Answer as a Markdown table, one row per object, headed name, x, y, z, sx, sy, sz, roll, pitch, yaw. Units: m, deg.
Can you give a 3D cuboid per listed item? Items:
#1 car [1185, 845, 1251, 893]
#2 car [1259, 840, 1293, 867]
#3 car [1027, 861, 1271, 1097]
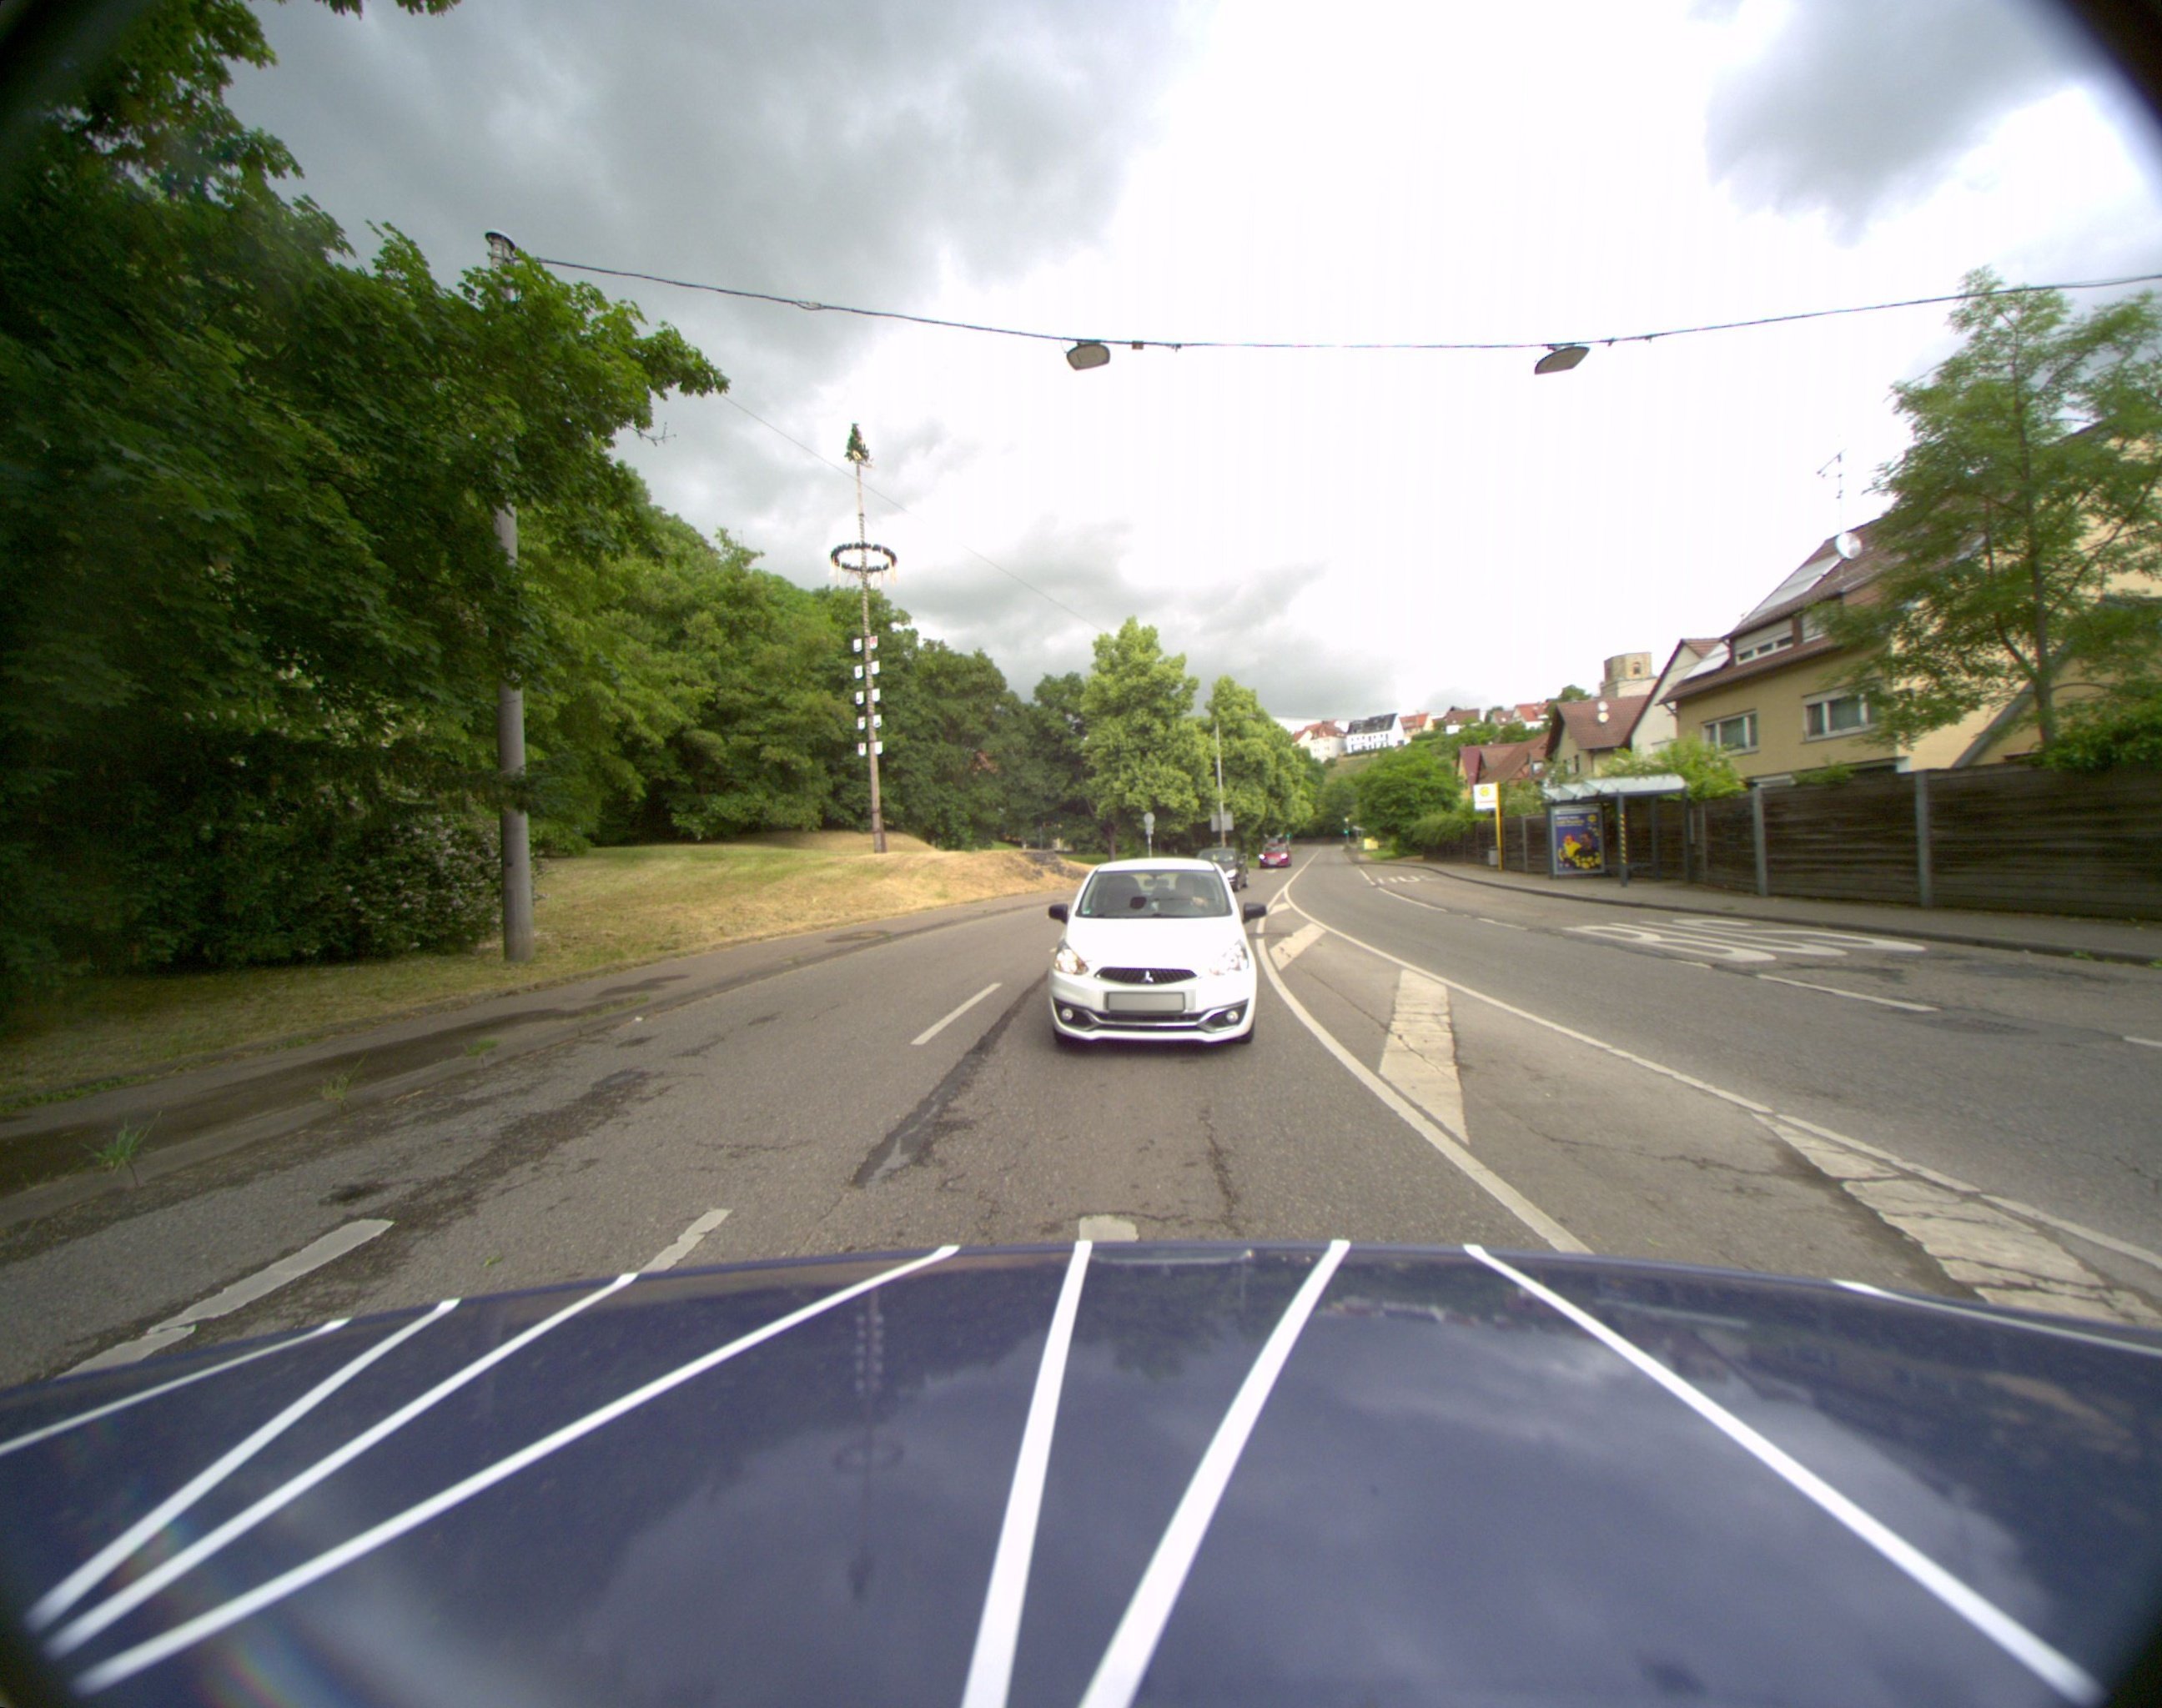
| name | x | y | z | sx | sy | sz | roll | pitch | yaw |
| --- | --- | --- | --- | --- | --- | --- | --- | --- | --- |
| car | 5.053 | 0.508 | 27.592 | 1.722 | 1.539 | 3.786 | -2 | 1 | 19 |
| car | 13.344 | -0.058 | 51.895 | 1.825 | 1.662 | 4.063 | -2 | 1 | 20 |
| car | 0.732 | 0.898 | 7.027 | 1.617 | 1.505 | 3.607 | -2 | 1 | 9 |
